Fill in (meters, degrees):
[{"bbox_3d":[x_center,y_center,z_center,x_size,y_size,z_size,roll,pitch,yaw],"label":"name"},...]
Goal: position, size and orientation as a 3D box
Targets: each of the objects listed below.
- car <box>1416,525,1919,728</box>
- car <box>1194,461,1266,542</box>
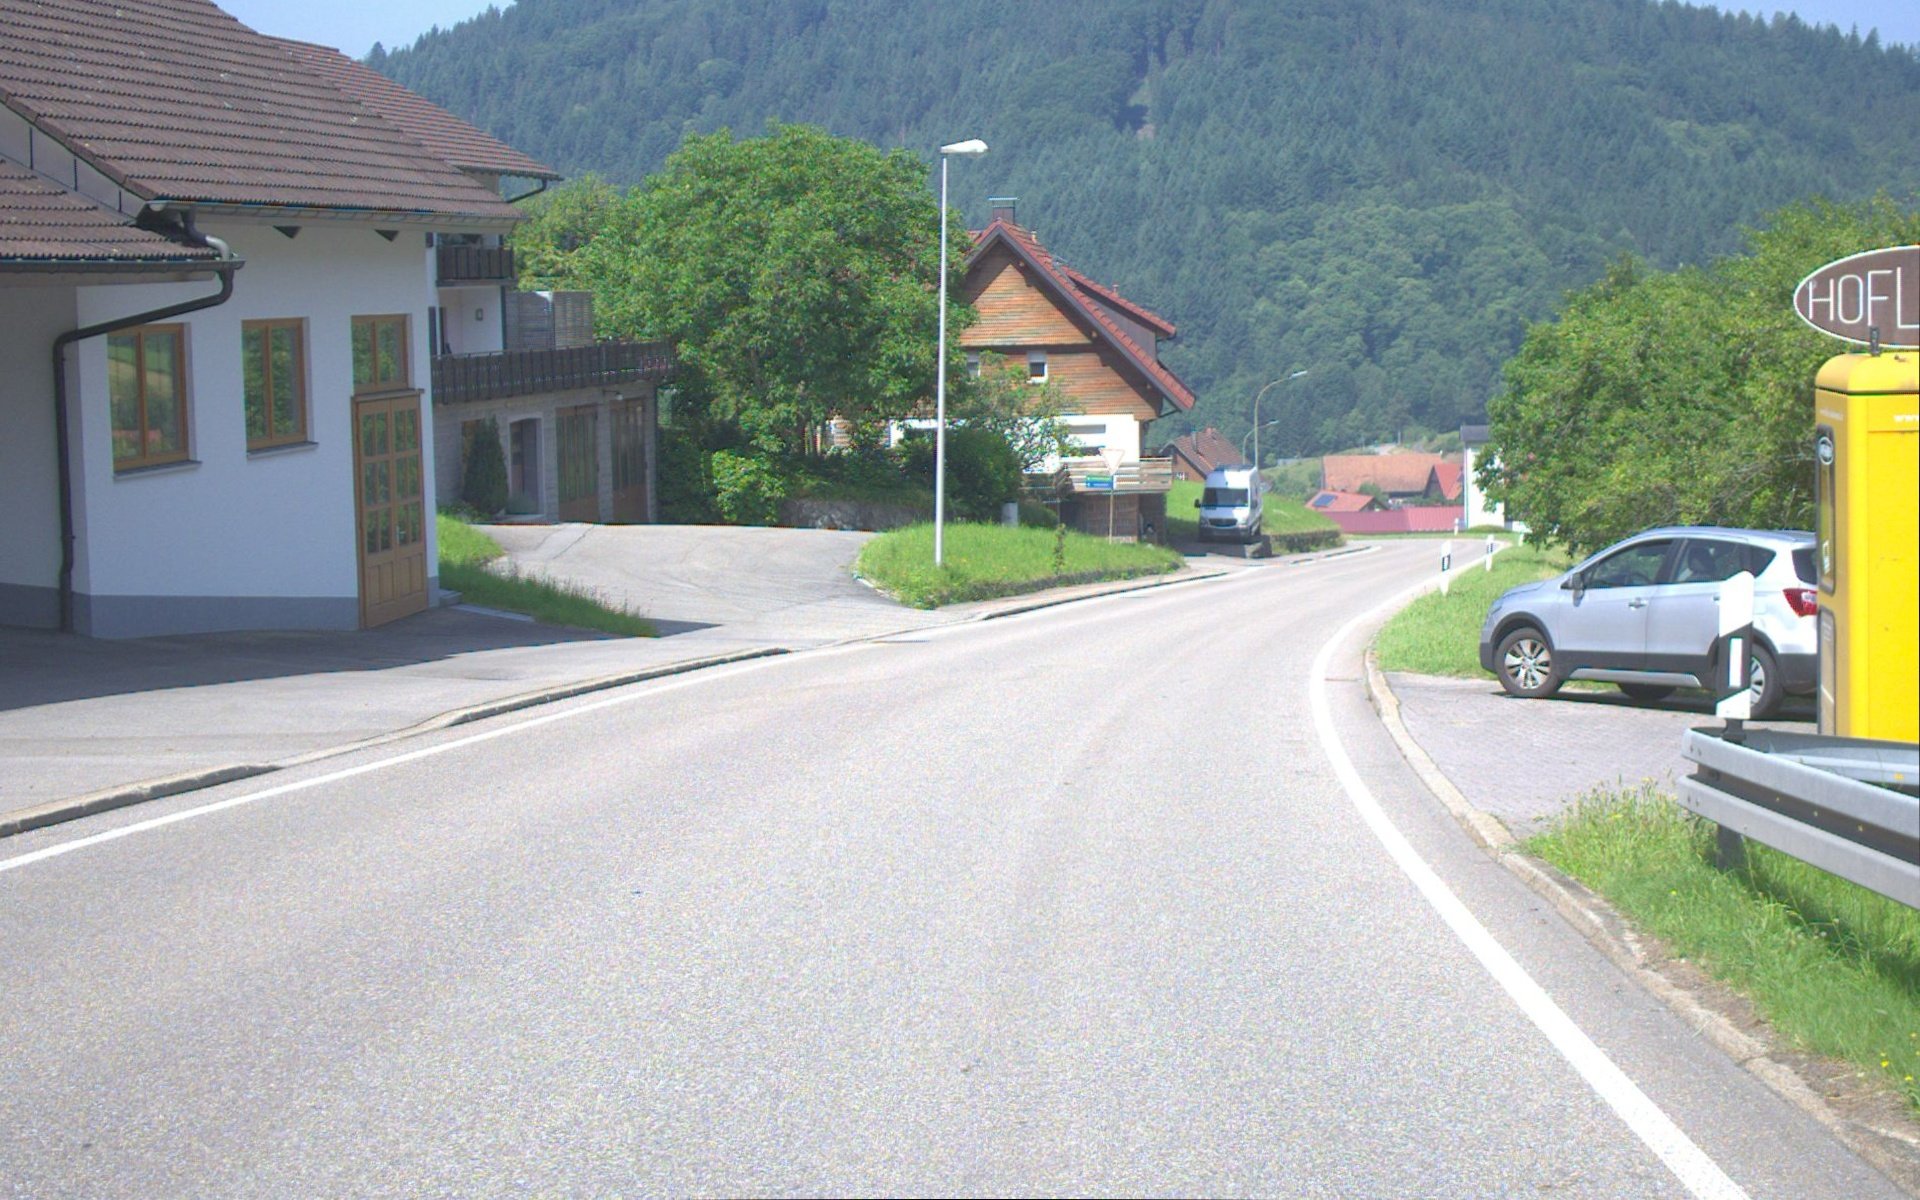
[{"bbox_3d":[6.239,0.170,30.131,1.899,1.565,4.462,0,2,-35],"label":"car"},{"bbox_3d":[10.355,-3.807,131.328,2.068,2.679,7.173,-1,5,9],"label":"car"}]
